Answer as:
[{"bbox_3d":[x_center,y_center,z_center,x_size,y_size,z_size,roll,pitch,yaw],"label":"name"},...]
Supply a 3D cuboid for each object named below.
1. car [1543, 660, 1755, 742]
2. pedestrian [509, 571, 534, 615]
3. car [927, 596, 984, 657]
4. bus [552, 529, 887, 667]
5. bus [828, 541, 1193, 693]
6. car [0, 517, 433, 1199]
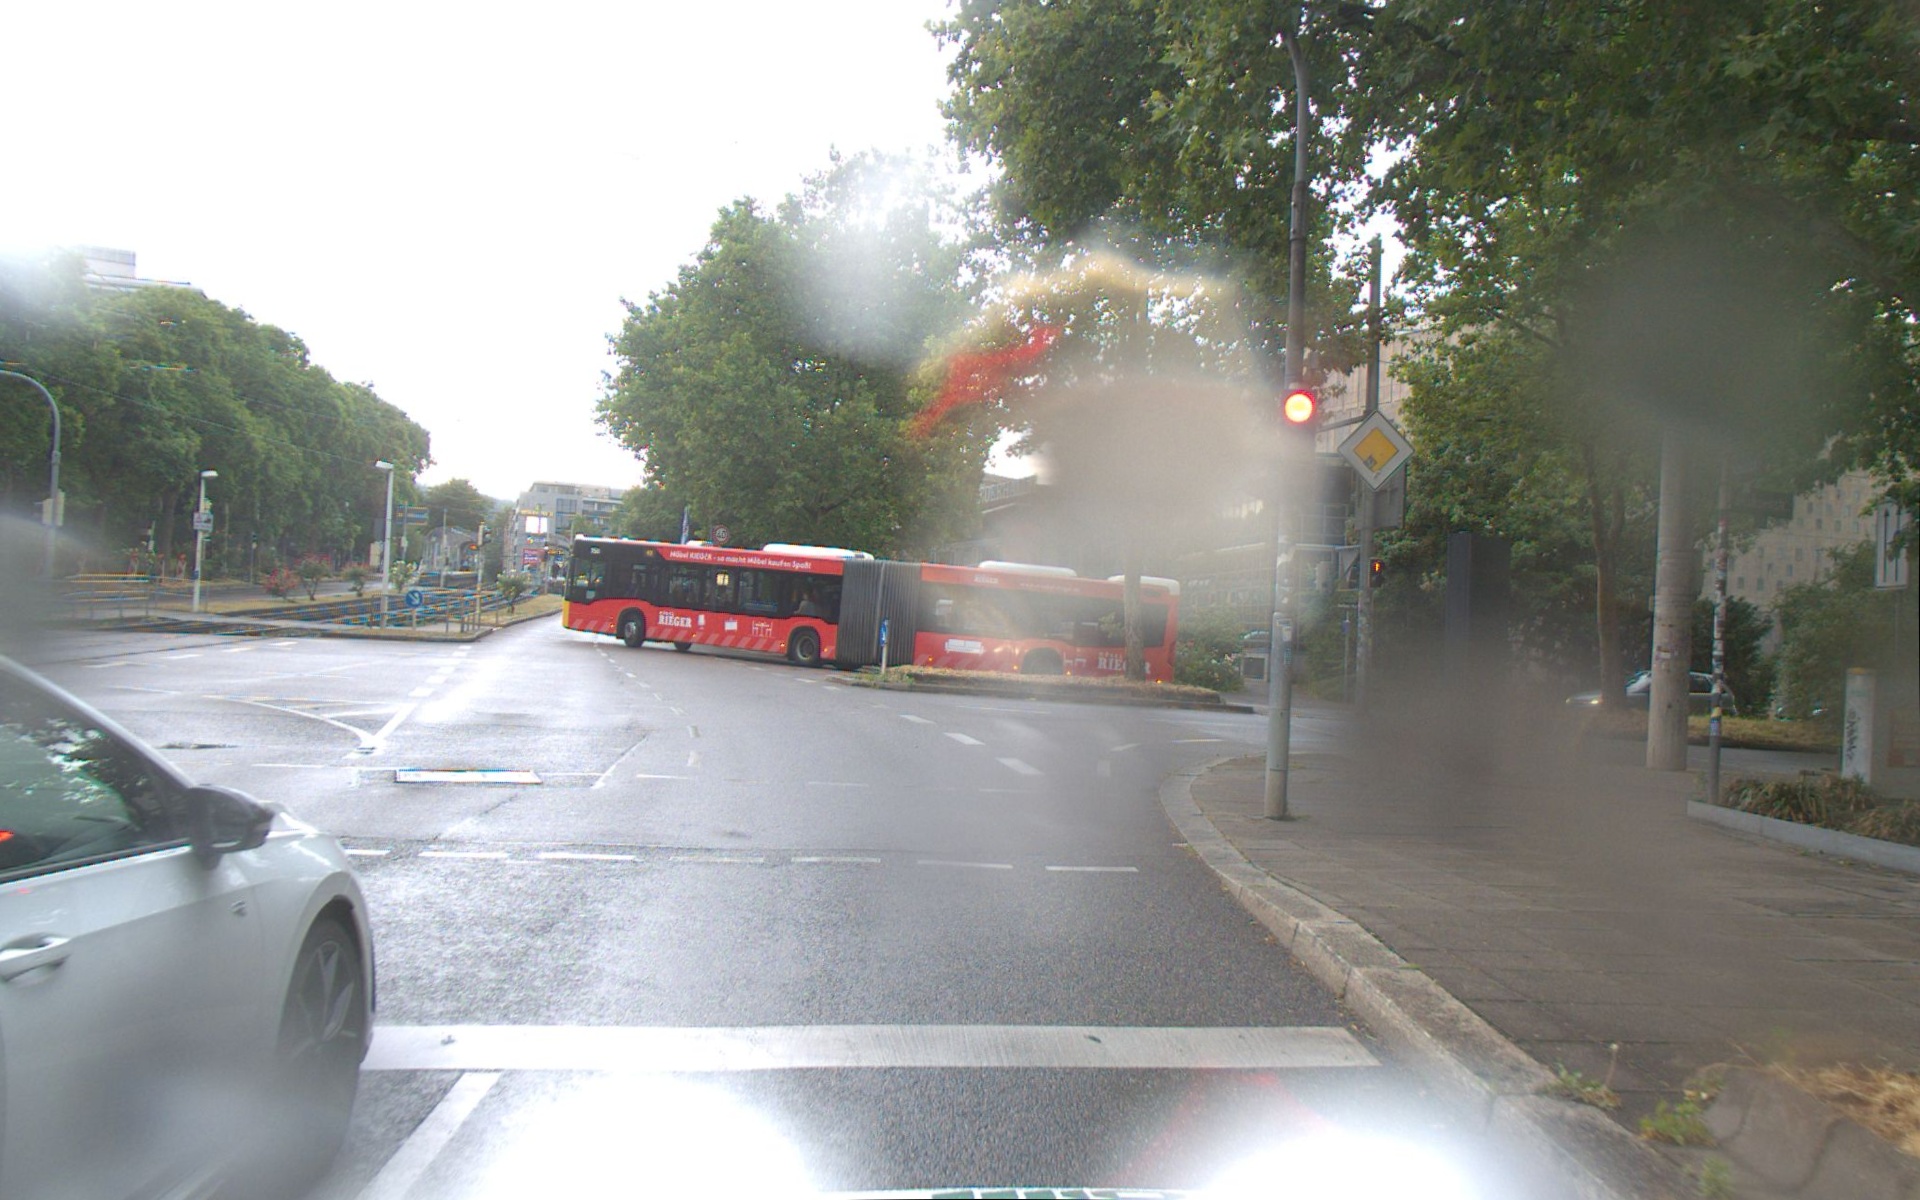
[{"bbox_3d":[15.513,2.260,37.343,3.912,1.467,1.997,4,-1,-7],"label":"car"},{"bbox_3d":[-17.052,-0.268,64.374,0.724,1.668,0.869,4,-1,-8],"label":"pedestrian"},{"bbox_3d":[-0.282,1.476,93.067,2.496,3.188,5.024,4,-1,-6],"label":"car"},{"bbox_3d":[-6.741,-0.101,45.745,9.245,3.165,2.555,4,-1,27],"label":"bus"},{"bbox_3d":[1.305,0.454,42.898,8.967,3.165,2.664,4,-1,1],"label":"bus"},{"bbox_3d":[-2.248,0.652,2.367,1.645,1.604,4.252,2,0,-1],"label":"car"}]
